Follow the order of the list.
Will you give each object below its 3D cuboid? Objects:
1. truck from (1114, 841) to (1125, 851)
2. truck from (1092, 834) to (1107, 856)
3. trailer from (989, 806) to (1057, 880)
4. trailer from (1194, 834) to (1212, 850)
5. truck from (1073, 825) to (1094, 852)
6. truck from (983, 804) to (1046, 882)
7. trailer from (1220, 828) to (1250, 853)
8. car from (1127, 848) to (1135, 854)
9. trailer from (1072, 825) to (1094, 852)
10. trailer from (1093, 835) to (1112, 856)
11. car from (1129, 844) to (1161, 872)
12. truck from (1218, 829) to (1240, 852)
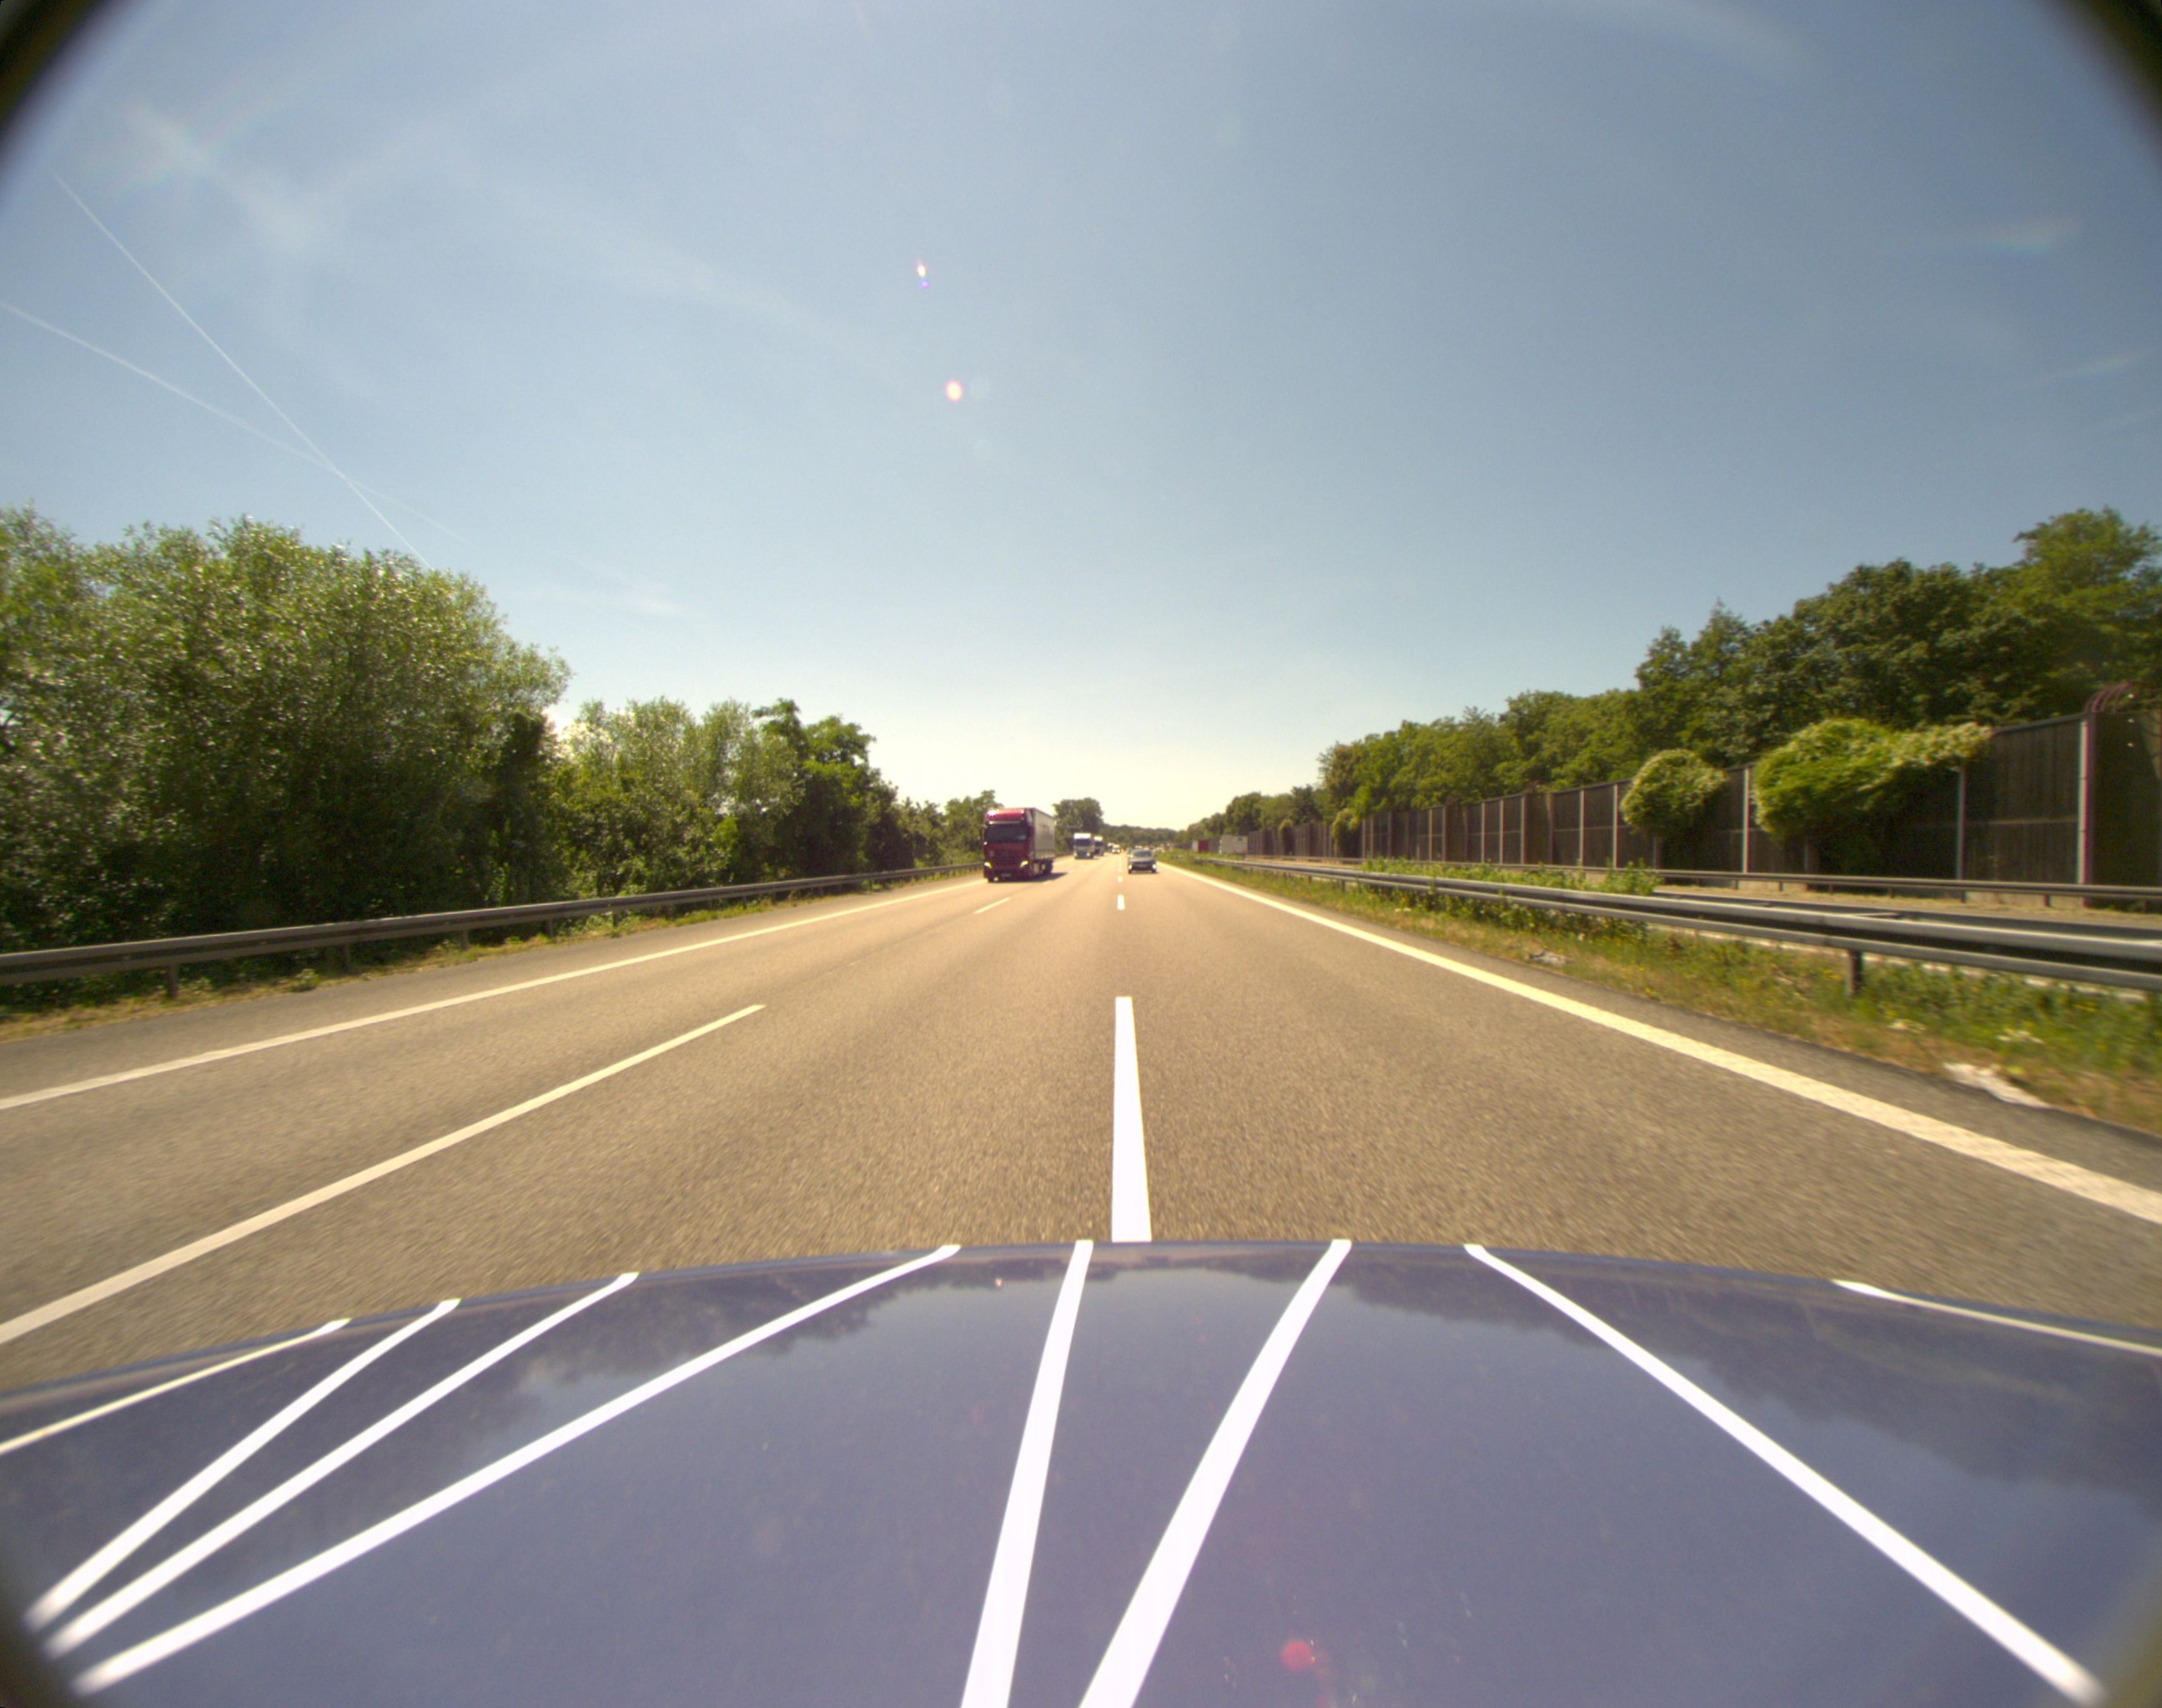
[{"bbox_3d":[11.454,-2.385,225.654,2.714,2.712,12.370,1,1,4],"label":"truck"},{"bbox_3d":[3.859,-1.820,158.954,2.540,4.446,5.575,1,1,7],"label":"truck"},{"bbox_3d":[-3.461,-0.686,49.283,2.713,4.065,14.151,1,1,2],"label":"trailer"},{"bbox_3d":[30.373,-2.996,190.133,2.741,3.999,14.306,0,1,2],"label":"trailer"},{"bbox_3d":[0.369,-2.391,118.515,2.967,4.082,6.204,1,1,-2],"label":"truck"},{"bbox_3d":[-3.658,-0.602,43.298,2.713,4.065,6.964,1,1,2],"label":"truck"},{"bbox_3d":[26.388,-2.291,130.933,2.916,4.159,13.312,0,1,3],"label":"trailer"},{"bbox_3d":[14.796,-0.853,224.675,1.908,1.717,4.377,1,1,6],"label":"car"},{"bbox_3d":[0.221,-2.434,123.499,2.967,4.082,12.528,1,1,-2],"label":"trailer"},{"bbox_3d":[4.733,-1.881,165.676,2.540,4.446,14.167,1,1,8],"label":"trailer"},{"bbox_3d":[4.108,0.199,49.313,1.908,1.717,4.376,1,1,4],"label":"car"},{"bbox_3d":[26.662,-2.422,137.343,2.840,4.159,7.142,0,1,3],"label":"truck"}]
